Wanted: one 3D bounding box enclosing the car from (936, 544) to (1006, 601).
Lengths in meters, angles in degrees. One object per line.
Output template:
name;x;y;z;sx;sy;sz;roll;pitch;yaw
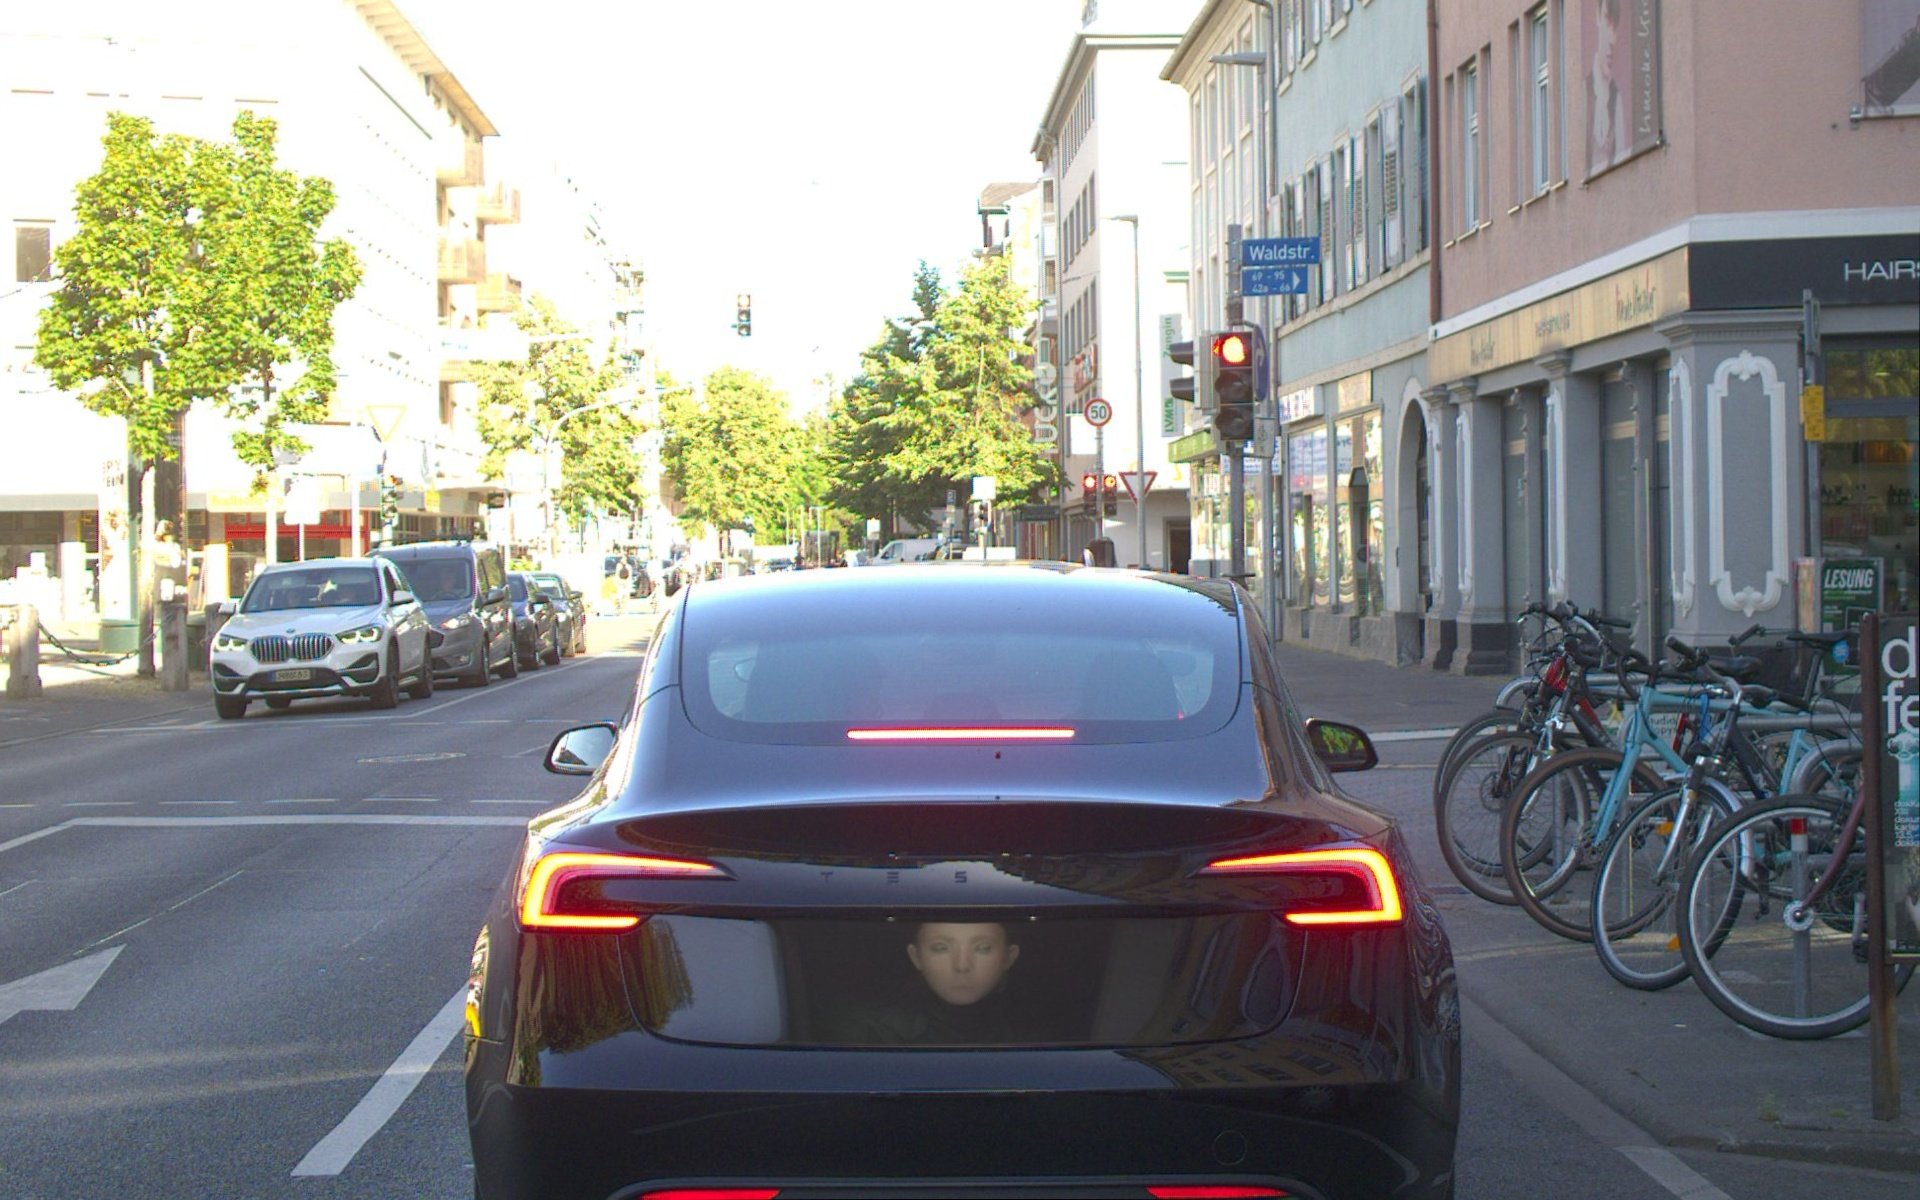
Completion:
car;0.299;-0.808;100.704;1.993;1.623;4.000;0;1;0

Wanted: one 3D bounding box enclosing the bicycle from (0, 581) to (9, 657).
bicycle;-15.708;0.289;52.215;2.323;1.152;0.843;0;1;-5

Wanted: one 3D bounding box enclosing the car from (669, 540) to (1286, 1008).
car;-0.011;0.526;13.194;1.993;1.507;4.176;0;1;-2

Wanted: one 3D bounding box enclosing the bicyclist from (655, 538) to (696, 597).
bicyclist;-7.913;-0.909;95.599;1.126;1.623;0.965;0;1;-3

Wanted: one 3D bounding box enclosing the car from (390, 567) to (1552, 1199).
car;-0.002;0.662;7.486;1.848;1.450;4.000;0;1;-1

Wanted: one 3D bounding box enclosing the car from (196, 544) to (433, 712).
car;-6.743;0.239;36.327;1.807;1.550;4.310;-4;1;-3

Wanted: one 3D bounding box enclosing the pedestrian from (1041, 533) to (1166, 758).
pedestrian;1.001;0.308;24.101;0.747;1.547;0.699;0;1;-10

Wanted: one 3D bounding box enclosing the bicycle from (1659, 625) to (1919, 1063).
bicycle;3.040;0.676;9.973;1.886;1.189;0.691;-2;1;5

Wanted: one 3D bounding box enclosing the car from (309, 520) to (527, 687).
car;-6.641;-0.003;42.589;1.834;1.838;4.674;-4;1;0

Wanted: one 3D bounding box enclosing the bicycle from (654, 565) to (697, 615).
bicycle;-7.895;-0.293;95.515;1.111;1.340;4.001;0;1;-3

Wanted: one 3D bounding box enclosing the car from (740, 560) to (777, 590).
car;-10.950;-1.374;187.059;1.993;1.631;4.001;0;1;-3

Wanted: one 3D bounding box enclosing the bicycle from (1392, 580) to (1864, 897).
bicycle;2.817;0.575;14.665;1.862;1.253;0.832;-2;1;5

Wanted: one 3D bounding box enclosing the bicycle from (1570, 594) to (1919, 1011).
bicycle;2.893;0.626;11.104;1.722;1.263;0.790;-2;1;5

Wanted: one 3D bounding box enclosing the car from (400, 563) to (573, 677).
car;-6.742;0.245;49.417;1.993;1.405;4.675;-4;1;-3

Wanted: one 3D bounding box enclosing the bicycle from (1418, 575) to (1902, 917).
bicycle;2.747;0.563;13.634;1.746;1.262;0.781;-2;1;3

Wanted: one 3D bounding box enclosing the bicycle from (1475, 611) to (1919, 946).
bicycle;2.813;0.629;12.456;1.798;1.120;0.781;-2;1;5

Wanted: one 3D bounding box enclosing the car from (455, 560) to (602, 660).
car;-7.108;0.126;57.008;1.993;1.431;4.675;-4;1;-3

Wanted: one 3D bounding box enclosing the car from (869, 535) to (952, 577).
car;-2.427;-2.155;167.538;3.986;2.007;2.000;0;1;-2
